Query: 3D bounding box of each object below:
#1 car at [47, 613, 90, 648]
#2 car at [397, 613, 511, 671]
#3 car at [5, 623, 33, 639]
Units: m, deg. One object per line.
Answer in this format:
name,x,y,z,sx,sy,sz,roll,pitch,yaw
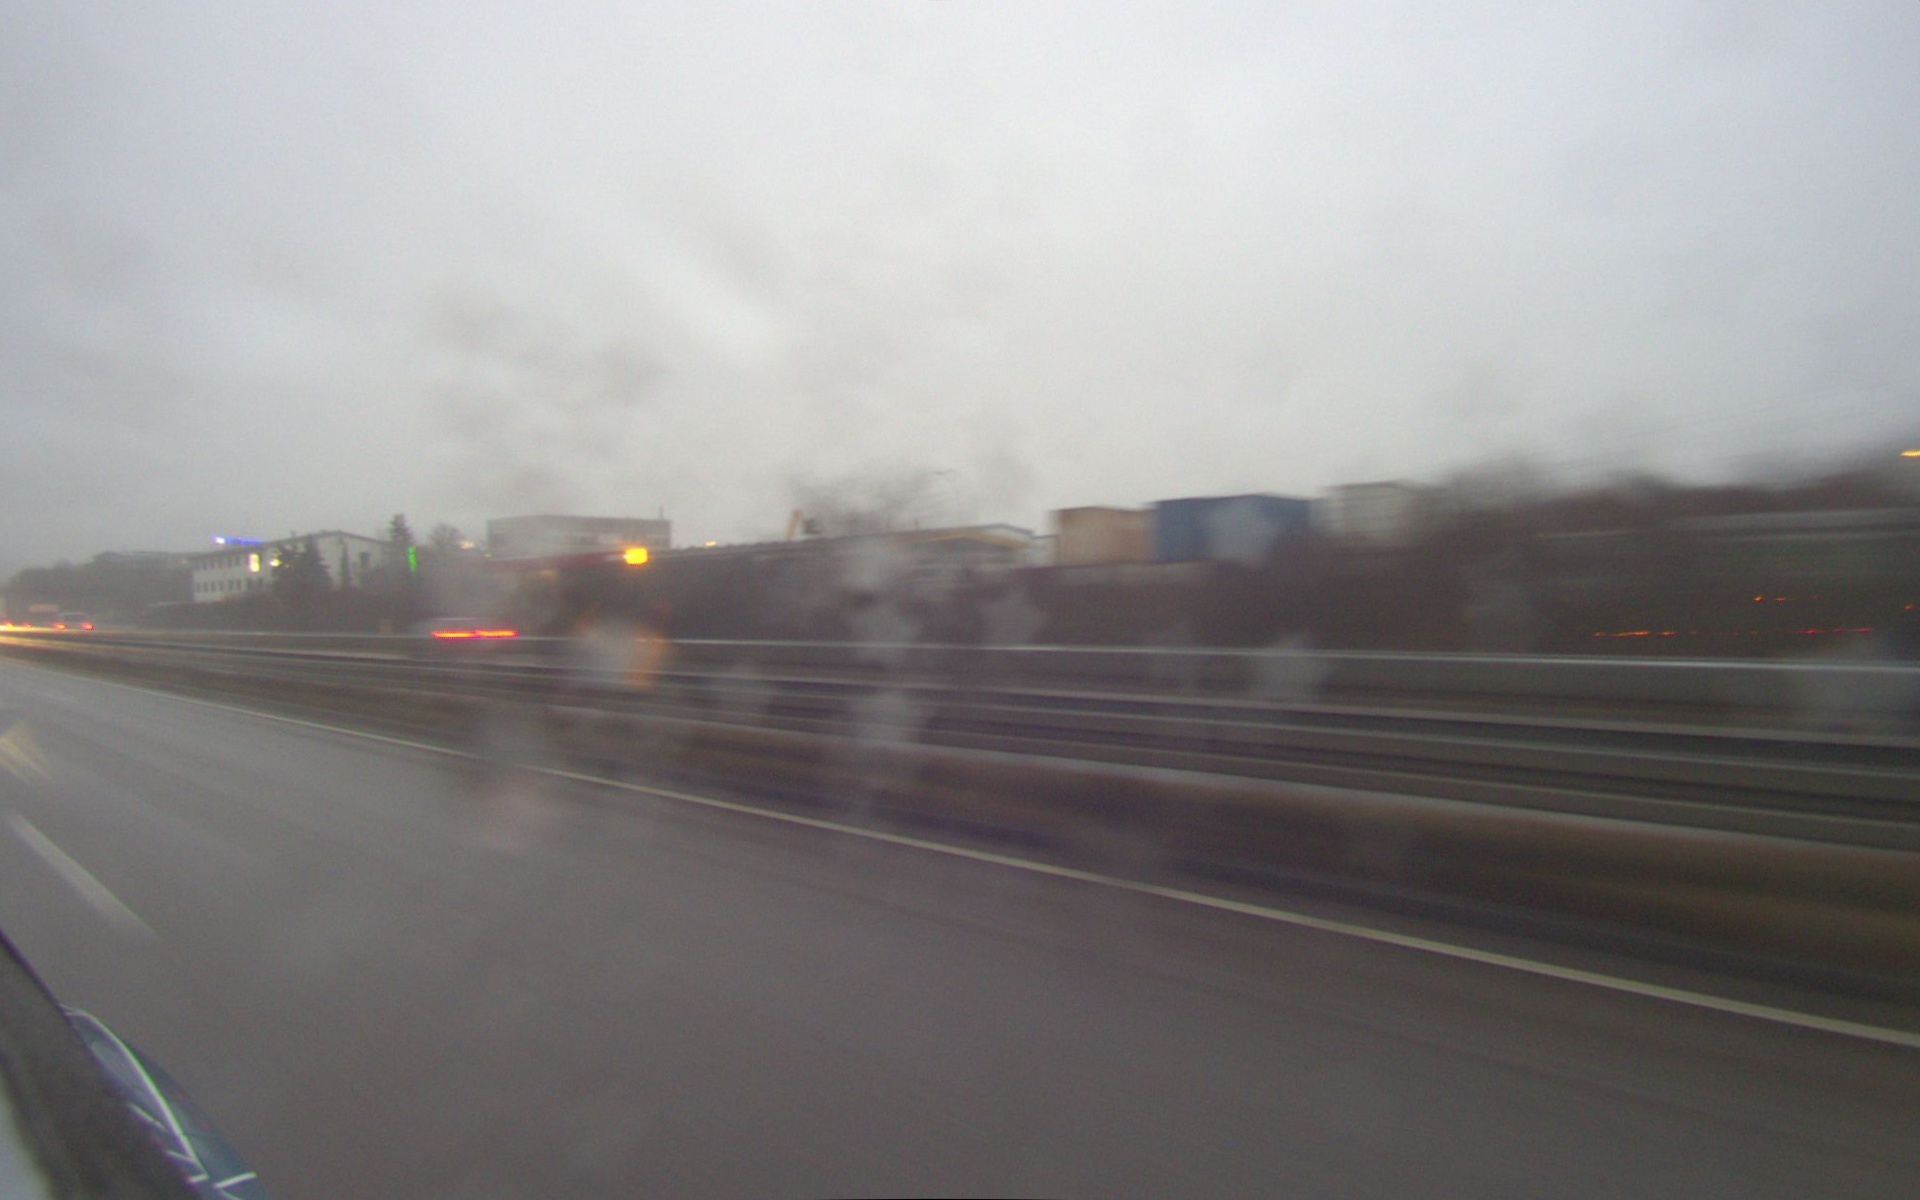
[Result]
car,-68.611,2.328,77.875,4.887,2.313,1.907,3,3,42
car,-15.366,1.233,30.636,3.998,1.652,1.722,-1,-2,41
car,-94.718,3.121,101.816,3.999,1.519,1.718,-1,0,42
